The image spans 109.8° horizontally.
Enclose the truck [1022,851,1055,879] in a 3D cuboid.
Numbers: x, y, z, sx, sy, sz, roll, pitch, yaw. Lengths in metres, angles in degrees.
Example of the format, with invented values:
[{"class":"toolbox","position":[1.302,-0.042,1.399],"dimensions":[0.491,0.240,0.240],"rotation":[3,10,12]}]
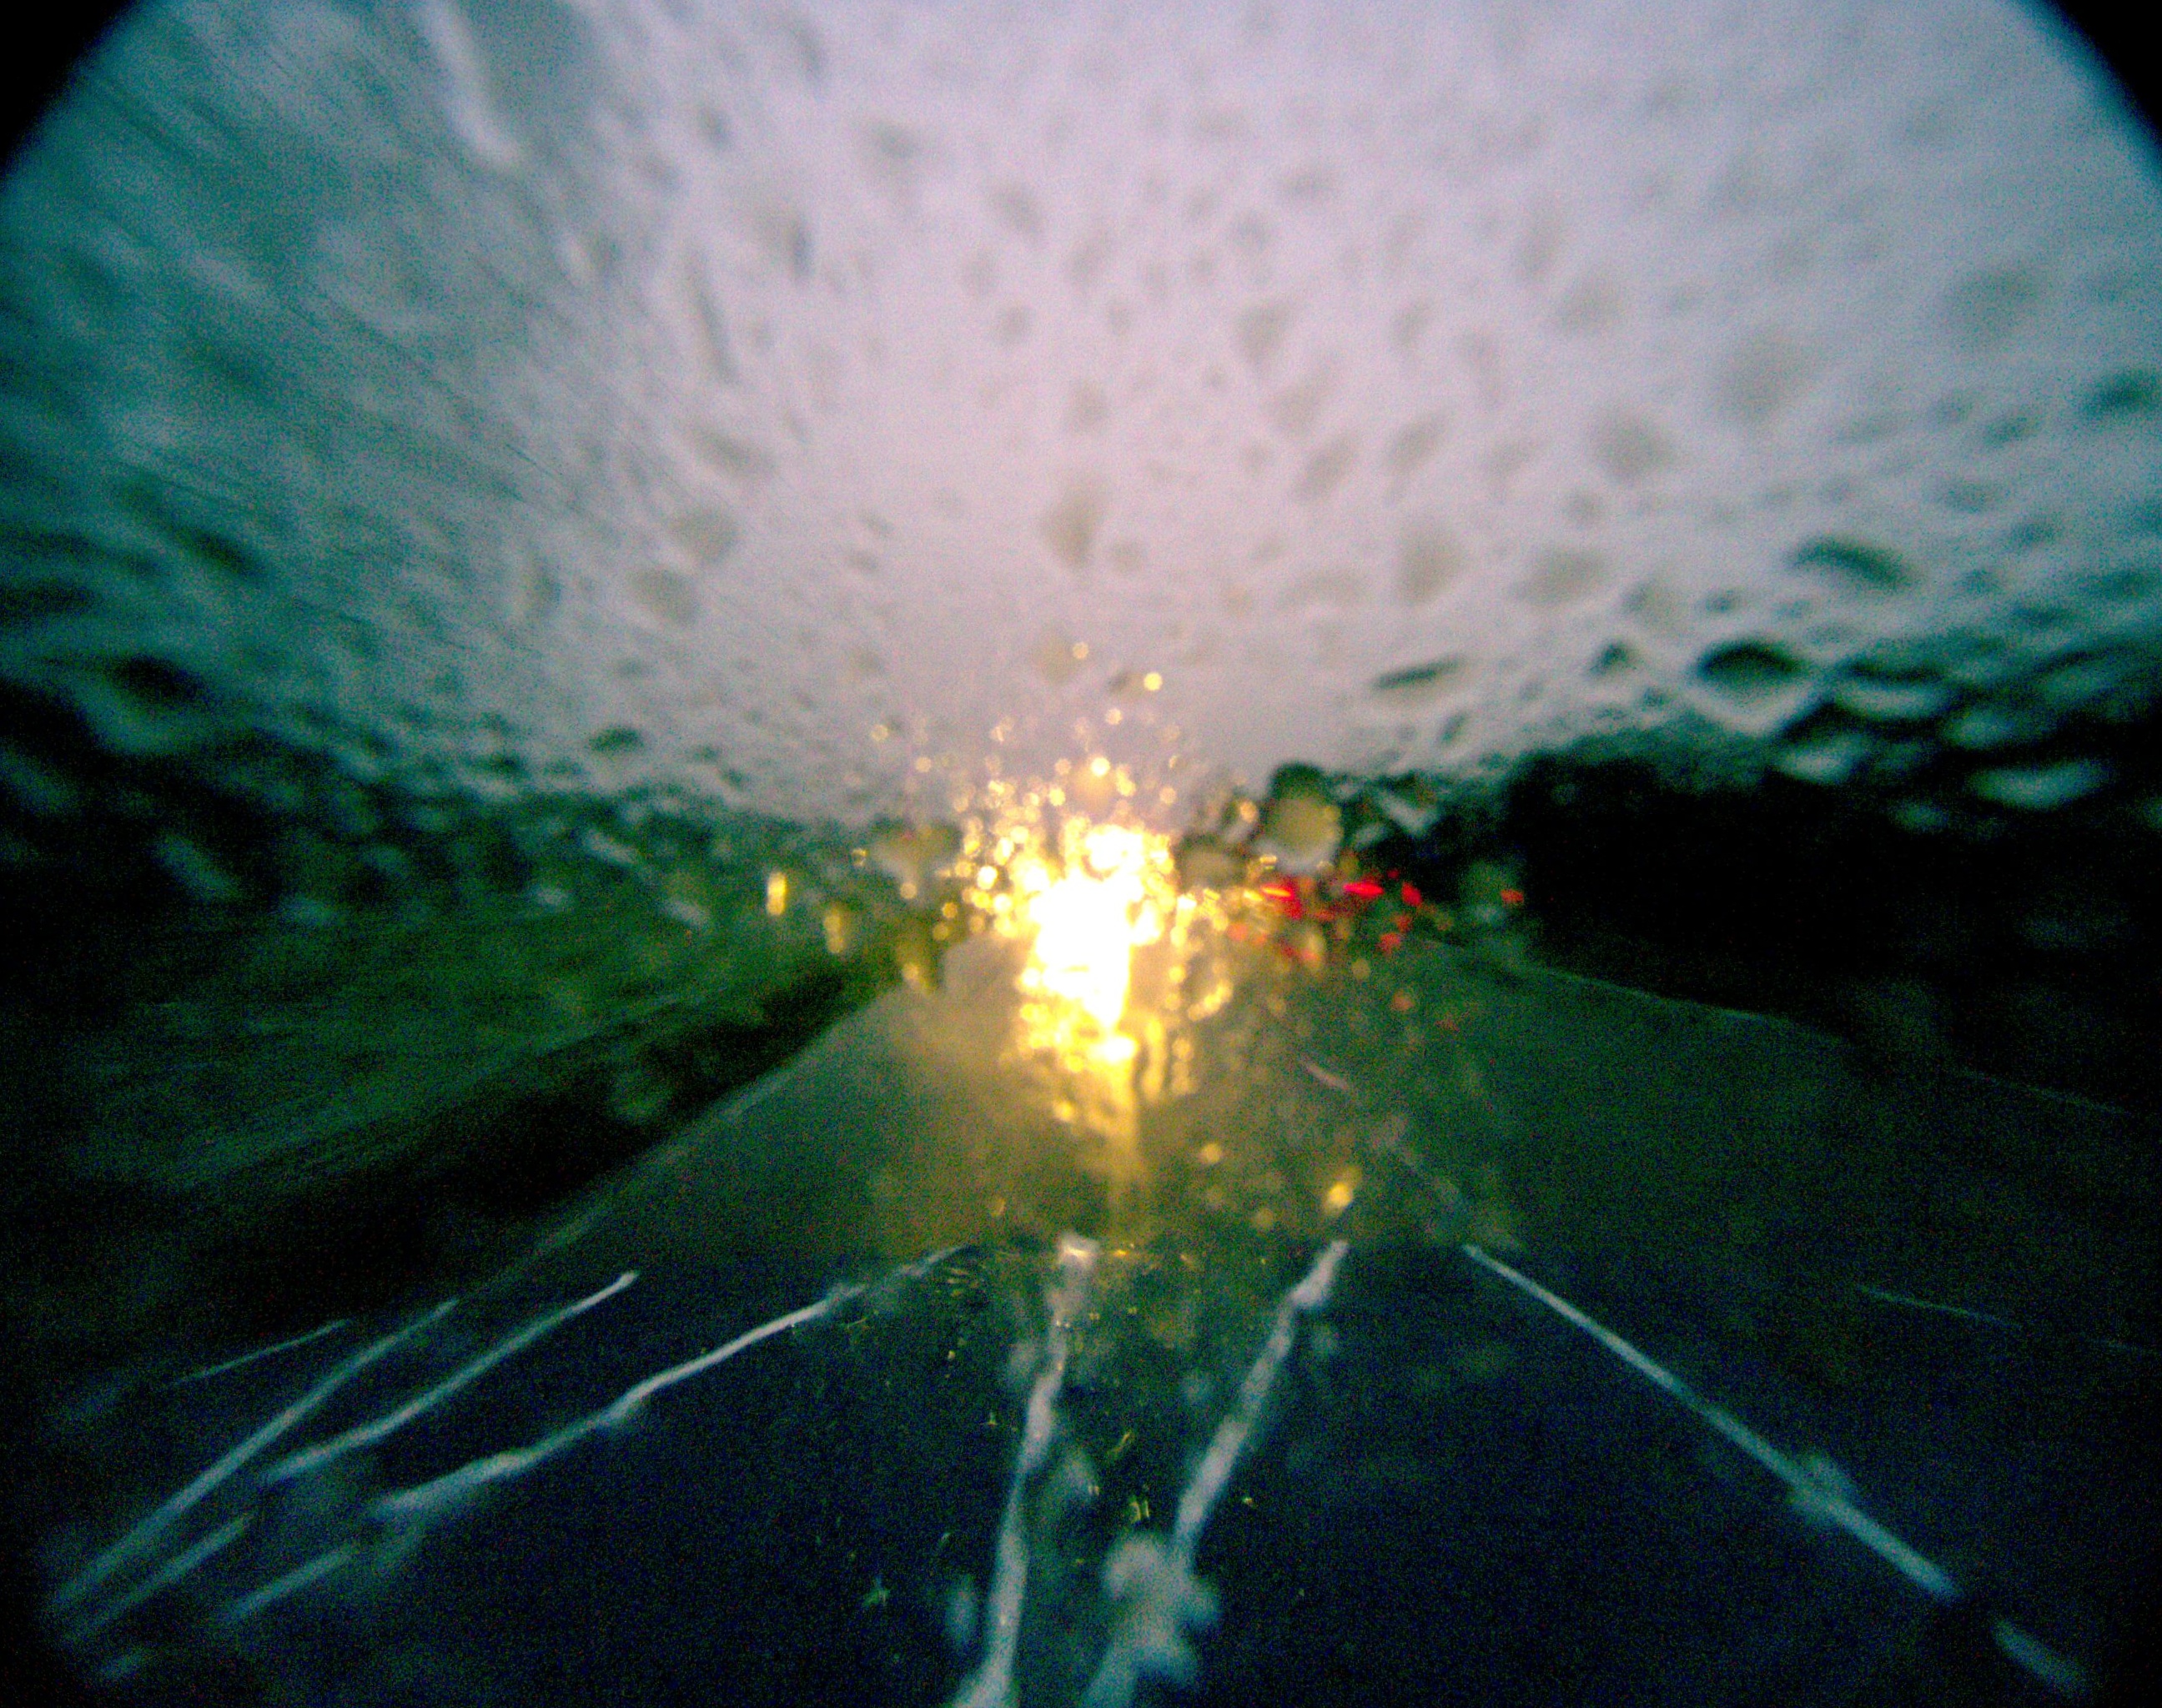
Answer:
[{"class":"truck","position":[-4.271,1.054,79.117],"dimensions":[2.510,2.556,10.806],"rotation":[-2,0,1]}]

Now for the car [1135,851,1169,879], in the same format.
[{"class":"car","position":[4.616,0.710,49.695],"dimensions":[1.867,1.690,4.468],"rotation":[-2,0,1]}]

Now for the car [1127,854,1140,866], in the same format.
[{"class":"car","position":[7.663,0.919,111.818],"dimensions":[1.790,1.740,4.259],"rotation":[-1,0,3]}]

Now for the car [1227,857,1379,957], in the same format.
[{"class":"car","position":[3.821,0.835,13.686],"dimensions":[1.660,1.477,3.669],"rotation":[-2,0,1]}]

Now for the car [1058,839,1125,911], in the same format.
[{"class":"car","position":[0.411,0.606,23.989],"dimensions":[1.856,2.002,4.001],"rotation":[-2,0,3]}]

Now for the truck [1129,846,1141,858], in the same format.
[{"class":"truck","position":[11.539,-0.478,161.972],"dimensions":[2.244,2.453,5.374],"rotation":[-2,0,2]}]
